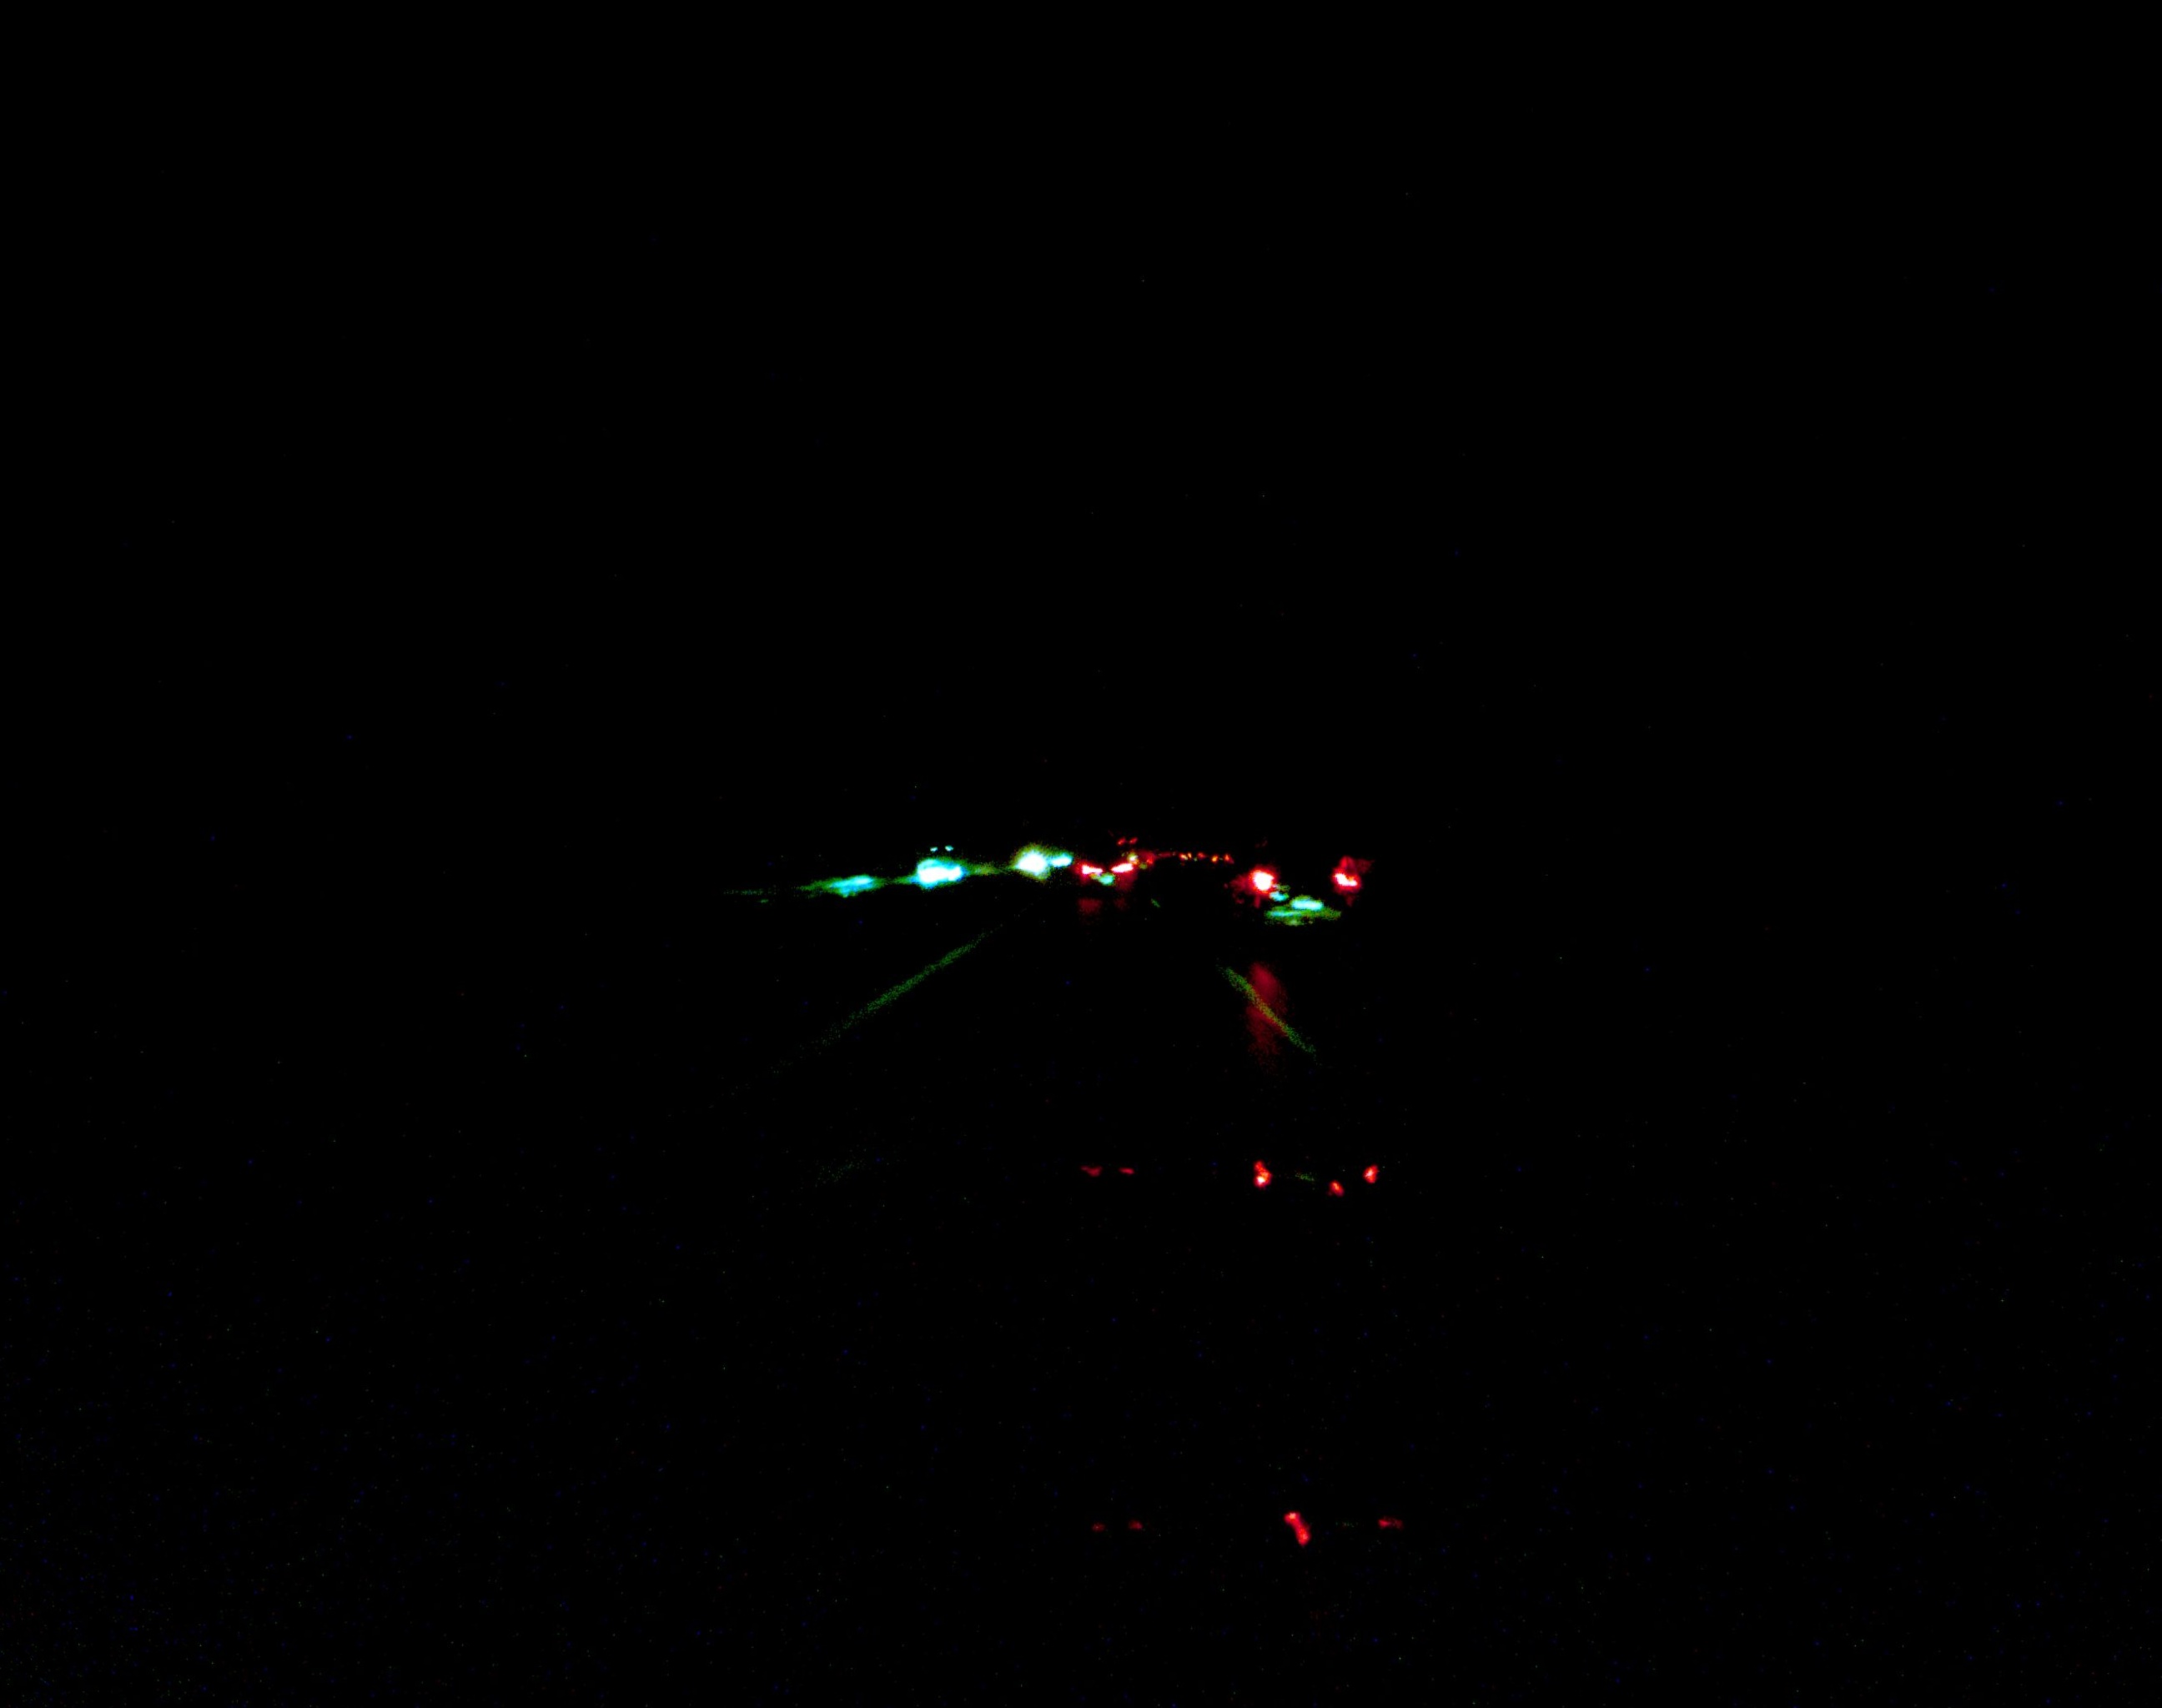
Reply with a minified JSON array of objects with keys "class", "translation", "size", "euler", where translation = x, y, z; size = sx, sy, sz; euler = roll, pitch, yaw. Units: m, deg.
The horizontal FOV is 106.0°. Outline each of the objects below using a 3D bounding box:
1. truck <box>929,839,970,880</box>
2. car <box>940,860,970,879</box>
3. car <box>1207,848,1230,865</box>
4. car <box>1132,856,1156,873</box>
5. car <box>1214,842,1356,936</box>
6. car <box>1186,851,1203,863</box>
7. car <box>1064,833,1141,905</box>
[{"class":"truck","translation":[-14.136,0.554,87.949],"size":[2.910,4.094,6.996],"euler":[-3,0,2]},{"class":"car","translation":[-10.924,1.307,70.908],"size":[1.790,1.574,3.975],"euler":[-2,0,2]},{"class":"car","translation":[14.037,0.259,83.398],"size":[1.848,1.618,4.003],"euler":[0,0,3]},{"class":"car","translation":[5.930,0.983,77.386],"size":[2.128,1.618,4.003],"euler":[0,0,3]},{"class":"car","translation":[3.794,0.588,15.852],"size":[1.877,1.588,4.002],"euler":[-1,0,2]},{"class":"car","translation":[15.060,0.405,108.341],"size":[1.849,1.618,4.002],"euler":[0,0,2]},{"class":"car","translation":[0.817,0.524,33.077],"size":[2.701,2.534,5.831],"euler":[-3,0,0]}]
